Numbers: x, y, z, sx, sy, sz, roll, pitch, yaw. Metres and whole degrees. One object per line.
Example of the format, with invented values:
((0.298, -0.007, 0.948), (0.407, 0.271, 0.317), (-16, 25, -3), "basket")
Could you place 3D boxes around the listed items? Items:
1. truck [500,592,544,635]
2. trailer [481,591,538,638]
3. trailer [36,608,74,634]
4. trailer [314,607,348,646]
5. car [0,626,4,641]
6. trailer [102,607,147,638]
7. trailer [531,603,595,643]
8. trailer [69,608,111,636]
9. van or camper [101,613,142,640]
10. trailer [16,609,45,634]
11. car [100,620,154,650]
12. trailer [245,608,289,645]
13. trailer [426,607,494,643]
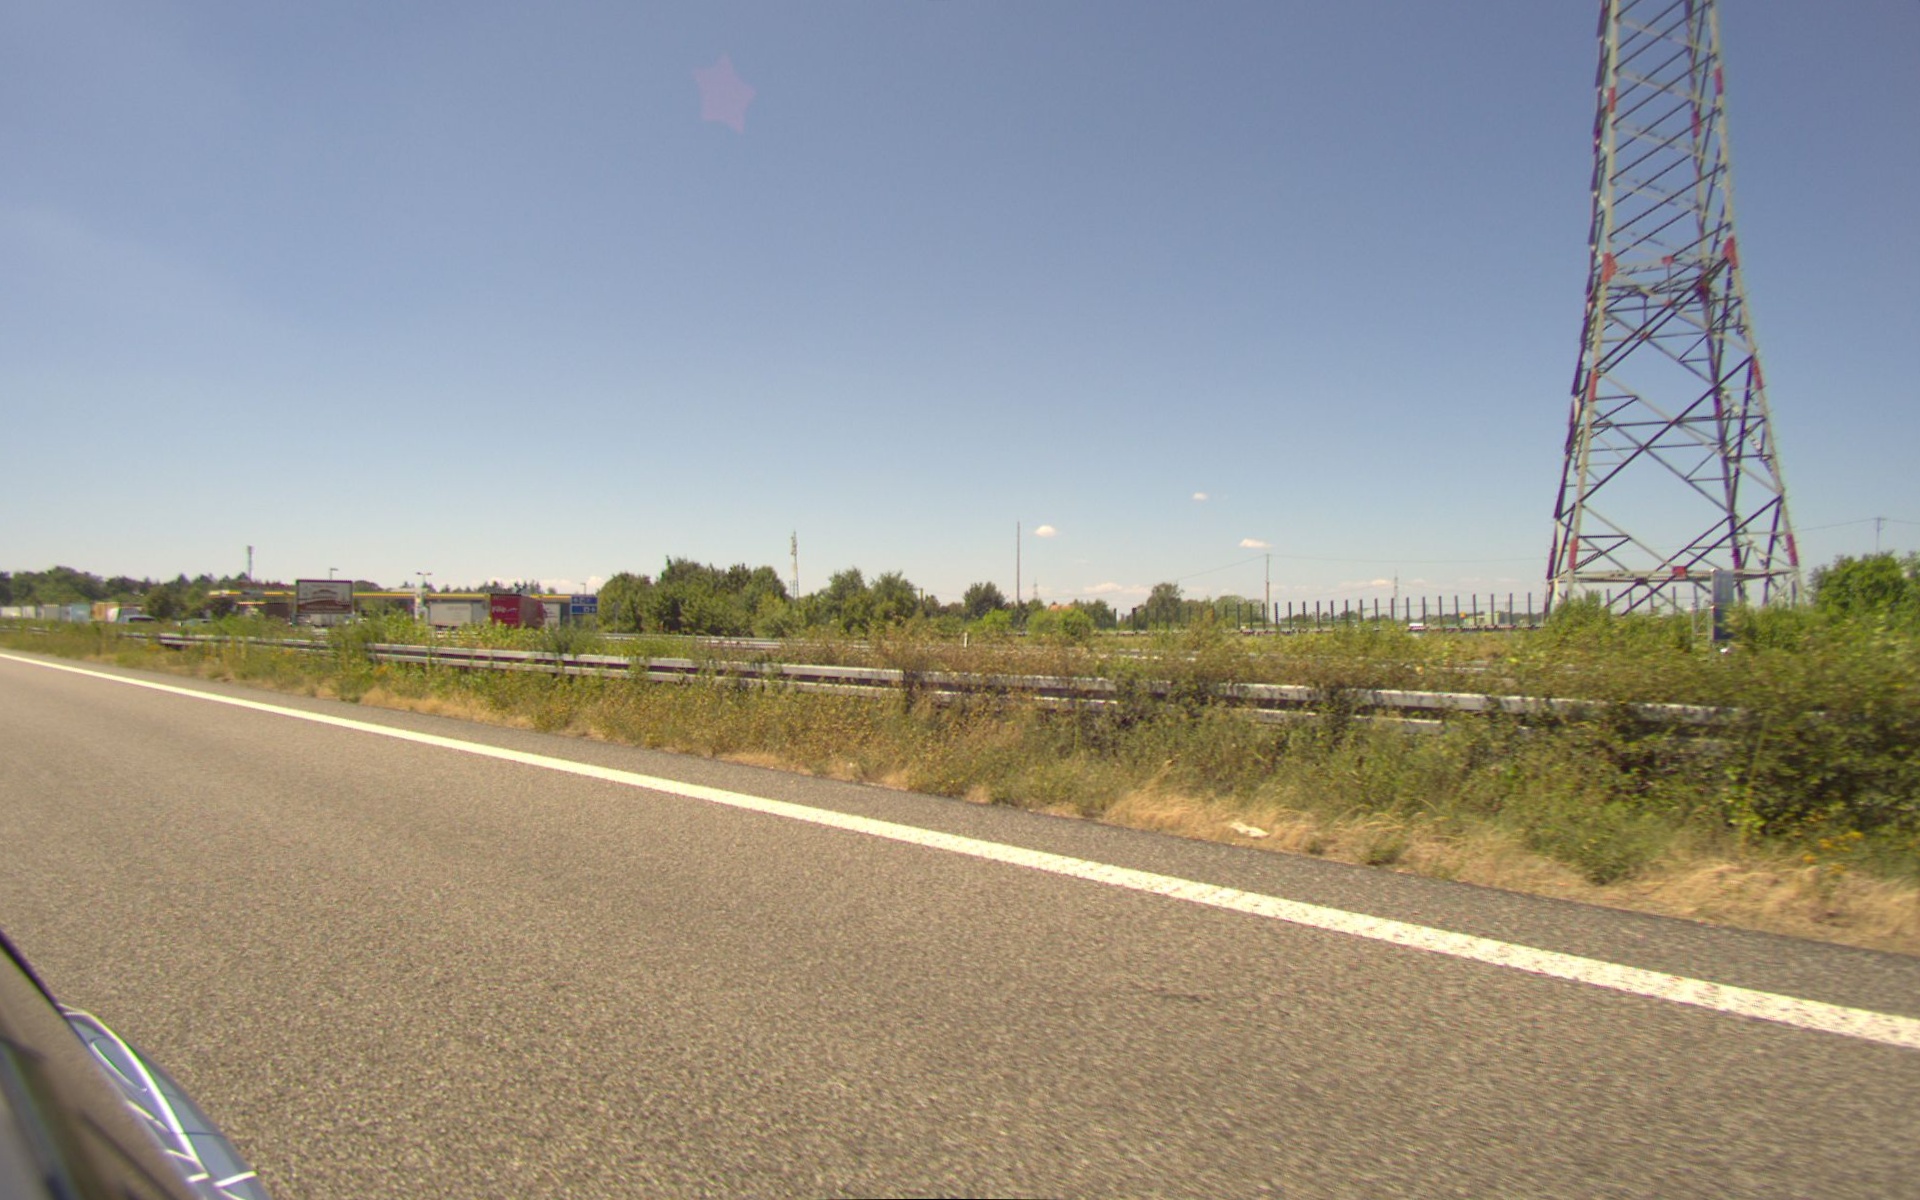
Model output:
((-43.753, 1.342, 101.233), (3.075, 4.080, 6.664), (-1, 0, -15), "truck")
((-41.858, 1.292, 94.372), (3.078, 4.086, 11.346), (-1, 0, -15), "trailer")
((-152.659, 3.504, 170.733), (11.004, 4.189, 3.082), (-1, 0, 39), "trailer")
((-82.453, 3.385, 132.507), (3.257, 4.911, 9.708), (-1, 0, -34), "trailer")
((-124.645, 4.307, 130.089), (5.043, 1.824, 1.934), (-1, 0, 40), "car")
((-117.192, 3.153, 141.901), (11.073, 4.251, 2.805), (-1, 0, 40), "trailer")
((-46.260, 2.578, 118.251), (3.122, 4.298, 11.064), (-1, 0, 0), "trailer")
((-133.690, 3.408, 155.476), (12.073, 4.180, 2.805), (-1, 0, 40), "trailer")
((-81.955, 2.573, 98.909), (6.386, 2.543, 2.038), (-1, 0, 41), "van or camper")
((-169.977, 3.948, 184.994), (10.506, 4.250, 2.572), (-1, 0, 40), "trailer")
((-45.452, 1.910, 55.202), (3.852, 1.569, 1.584), (-1, -2, 40), "car")
((-96.142, 3.703, 140.323), (9.132, 4.886, 3.000), (-1, 0, 42), "trailer")
((-64.751, 3.214, 130.844), (12.919, 4.390, 3.266), (-1, 0, 43), "trailer")
